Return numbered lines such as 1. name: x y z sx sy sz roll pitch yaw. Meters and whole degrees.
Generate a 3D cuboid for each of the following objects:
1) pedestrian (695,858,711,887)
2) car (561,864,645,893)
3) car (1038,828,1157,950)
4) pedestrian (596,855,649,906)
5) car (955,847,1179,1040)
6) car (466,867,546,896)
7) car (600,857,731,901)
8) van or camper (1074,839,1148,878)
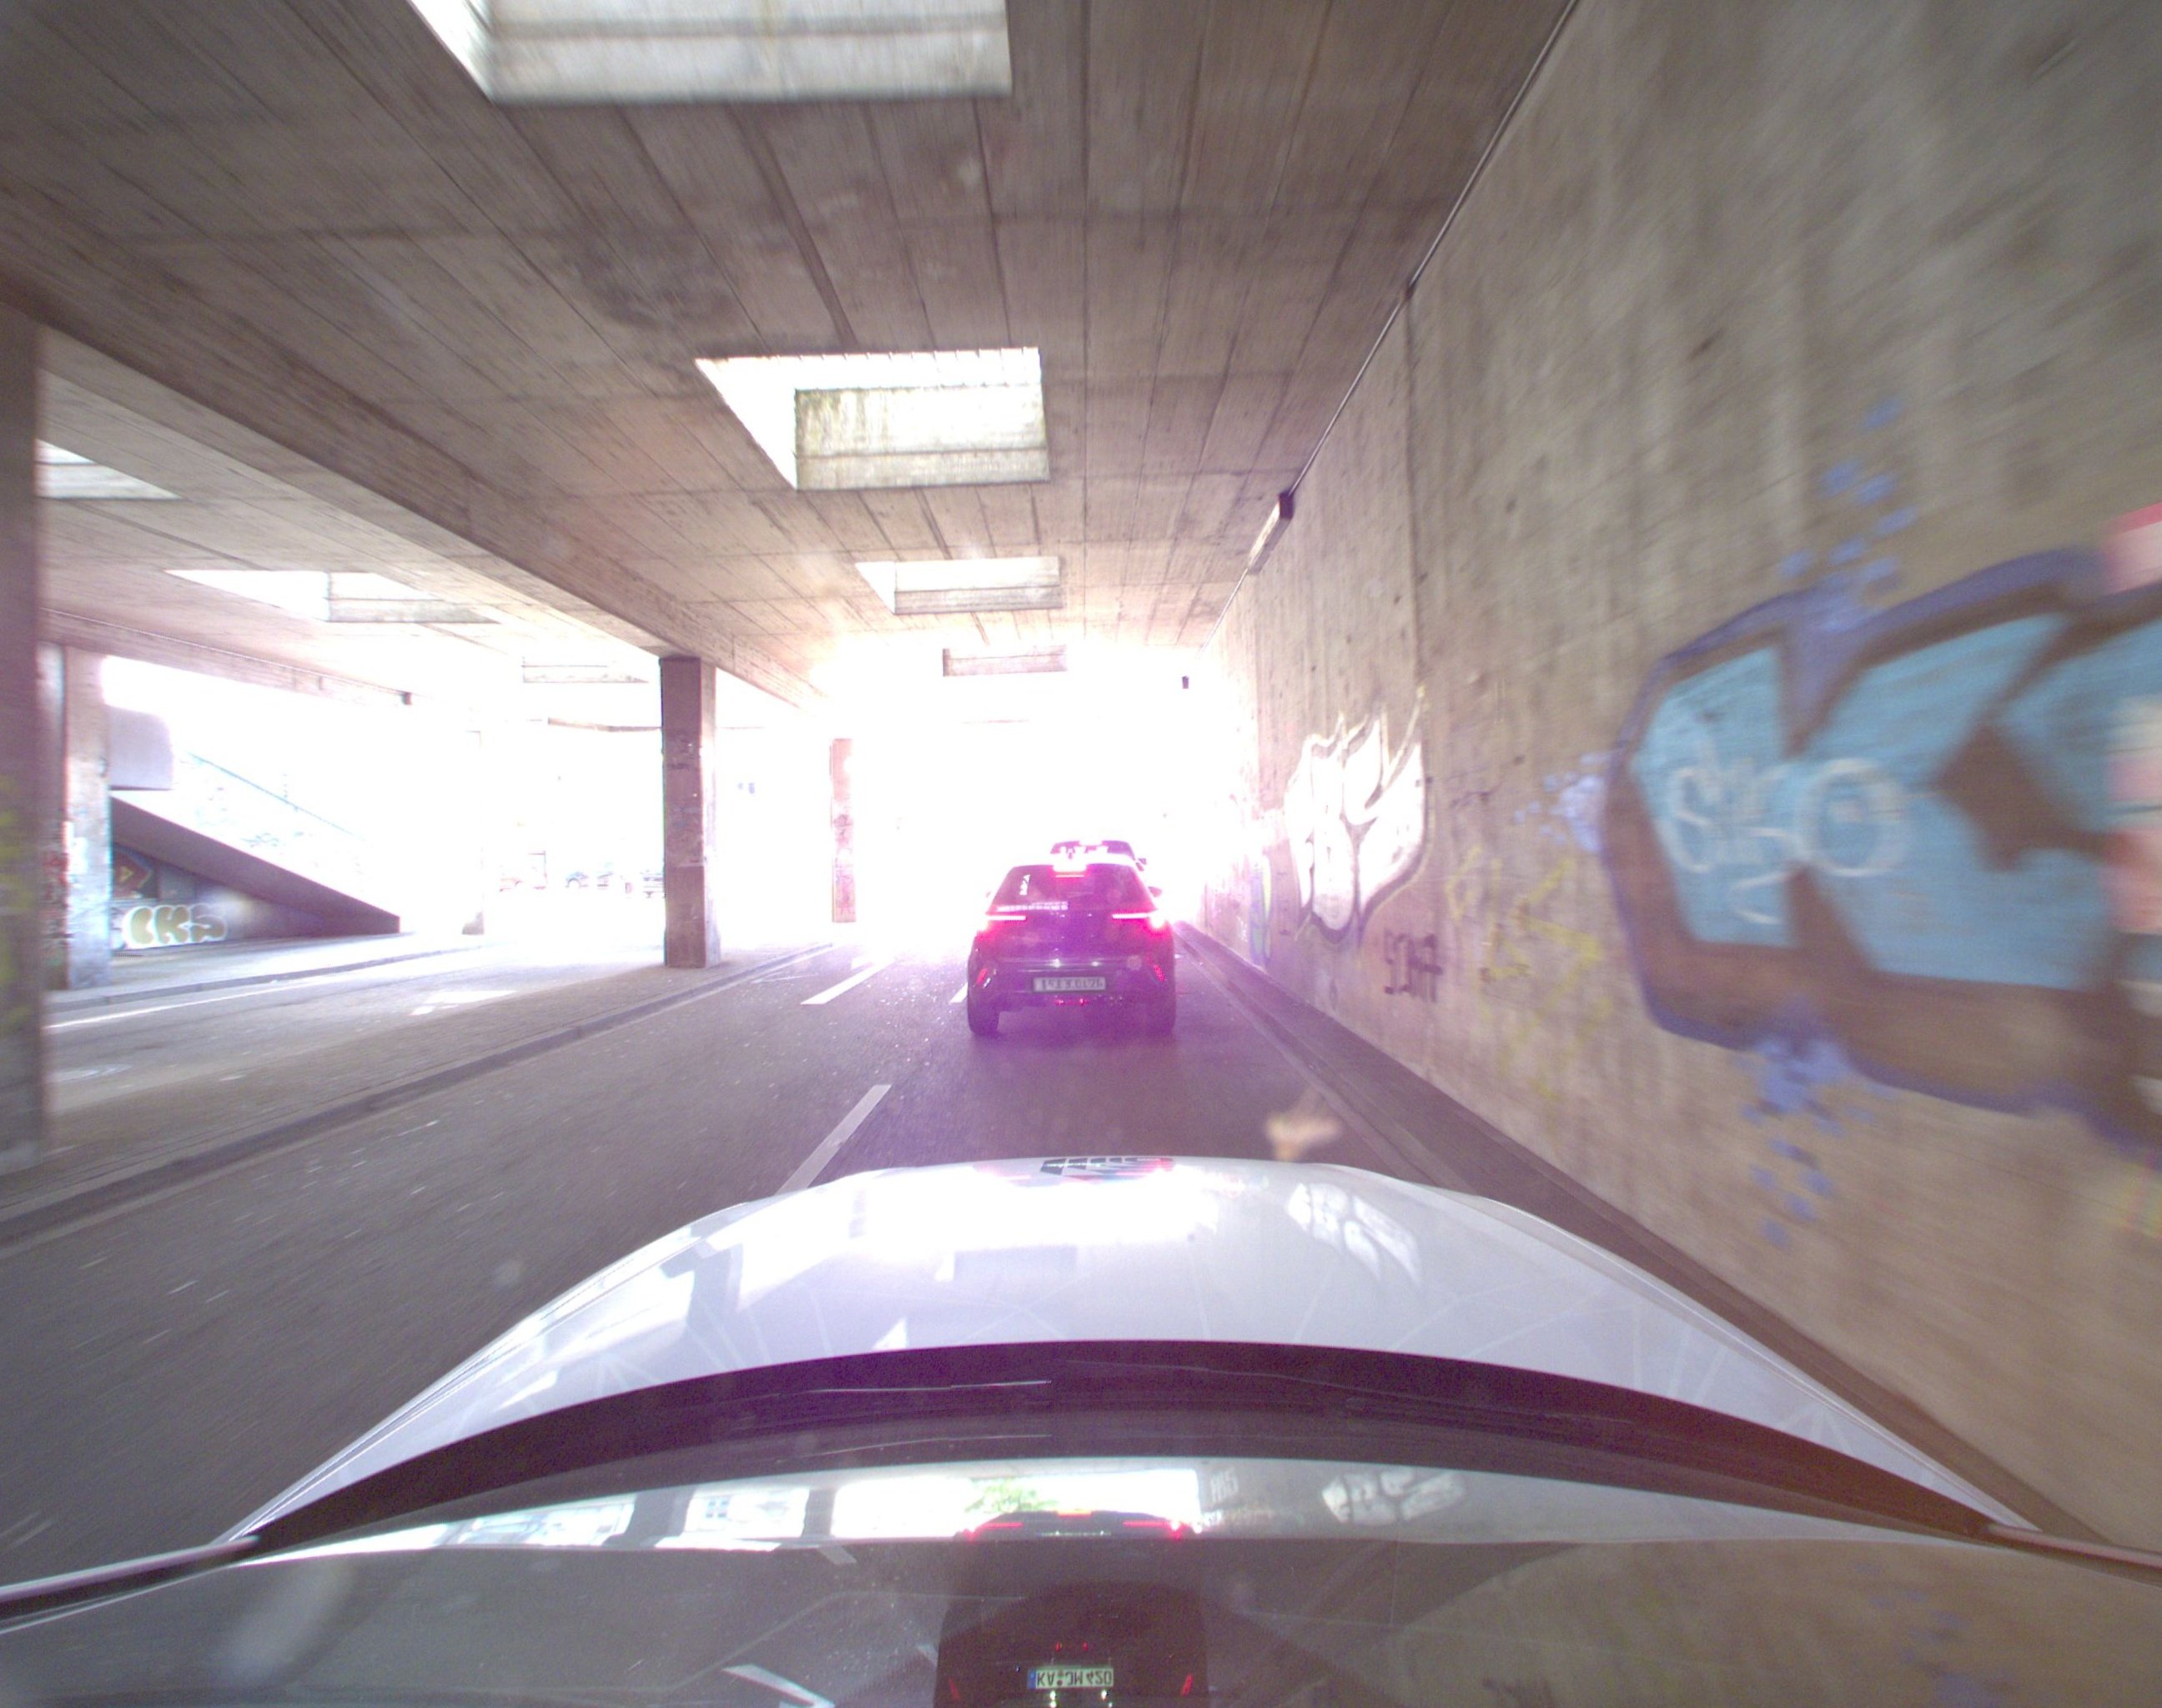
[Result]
1. pedestrian: -22.616 1.114 48.759 0.720 1.705 0.623 0 -1 -6
2. car: -27.662 1.405 47.218 3.742 1.508 1.752 -2 0 -1
3. car: 0.308 0.528 14.334 1.779 1.833 3.962 -1 0 1
4. pedestrian: -16.257 0.937 28.893 1.103 1.737 1.146 -2 0 14
5. car: -0.045 0.700 8.398 1.747 1.498 4.002 -1 0 2
6. car: -33.153 1.579 47.010 3.519 1.506 1.563 -2 0 2
7. car: -17.679 1.035 34.790 4.554 1.641 2.004 -2 1 6
8. van or camper: 1.691 0.266 45.371 3.854 2.013 2.005 -2 0 9
